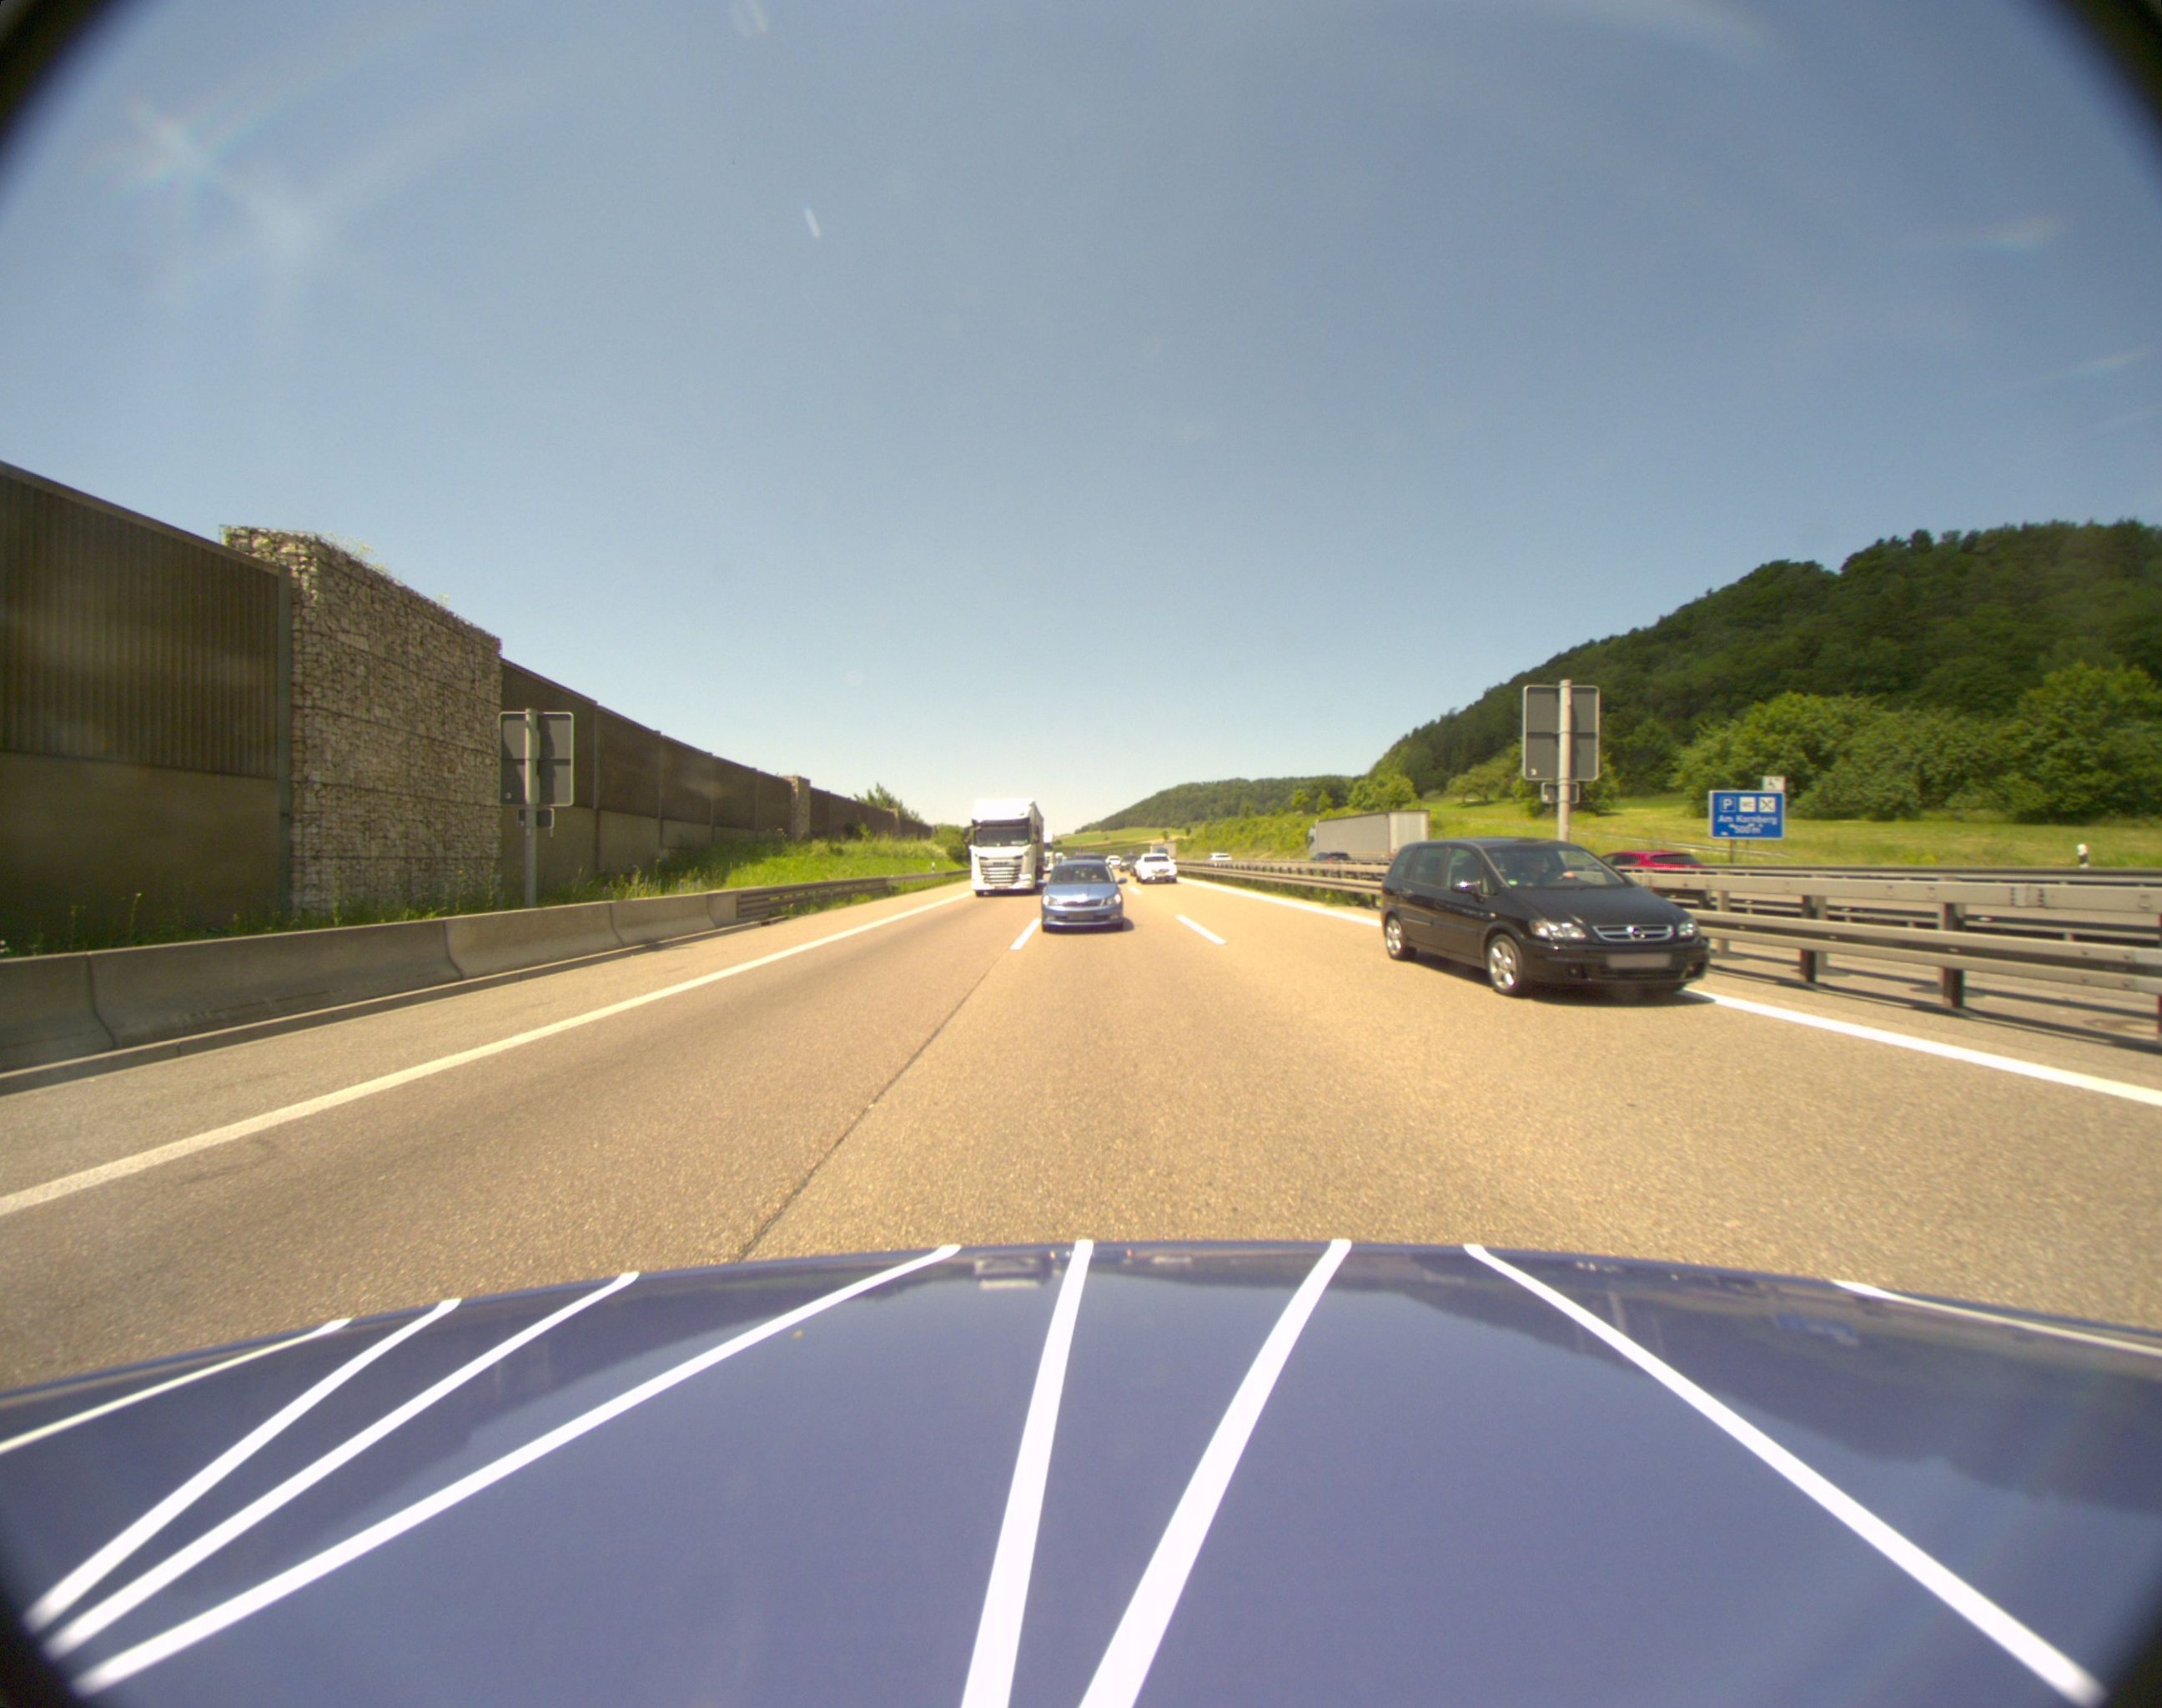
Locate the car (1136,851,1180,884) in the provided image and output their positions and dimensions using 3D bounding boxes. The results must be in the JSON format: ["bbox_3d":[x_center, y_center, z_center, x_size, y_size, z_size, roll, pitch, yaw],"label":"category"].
[{"bbox_3d":[4.083,0.696,40.812,1.998,1.612,4.000,-1,0,1],"label":"car"}]

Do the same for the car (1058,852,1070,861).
[{"bbox_3d":[-3.214,0.477,142.793,1.999,1.702,3.999,-2,1,-2],"label":"car"}]

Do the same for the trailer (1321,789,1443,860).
[{"bbox_3d":[20.244,-1.848,52.469,3.255,4.180,12.998,-2,1,0],"label":"trailer"}]

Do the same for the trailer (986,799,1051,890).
[{"bbox_3d":[-3.009,-0.419,40.215,2.484,3.954,13.653,-1,0,-1],"label":"trailer"}]

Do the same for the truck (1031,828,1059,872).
[{"bbox_3d":[-3.660,-0.402,75.507,2.532,4.065,6.077,-2,1,-4],"label":"truck"}]

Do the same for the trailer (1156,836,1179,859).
[{"bbox_3d":[16.932,-1.335,149.603,2.862,4.167,13.613,-2,1,0],"label":"trailer"}]

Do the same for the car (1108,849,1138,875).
[{"bbox_3d":[3.038,0.551,55.491,1.998,1.692,4.000,-2,1,1],"label":"car"}]

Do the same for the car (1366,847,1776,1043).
[{"bbox_3d":[4.976,0.765,8.644,1.805,1.625,4.446,-1,0,0],"label":"car"}]

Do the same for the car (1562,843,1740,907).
[{"bbox_3d":[16.145,0.535,21.845,1.874,1.608,4.355,-1,0,1],"label":"car"}]

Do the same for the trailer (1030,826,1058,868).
[{"bbox_3d":[-4.067,-0.768,81.320,2.545,4.084,13.622,-2,1,-4],"label":"trailer"}]

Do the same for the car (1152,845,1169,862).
[{"bbox_3d":[13.445,-0.107,128.477,2.161,2.846,6.398,-2,1,0],"label":"car"}]

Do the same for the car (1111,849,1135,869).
[{"bbox_3d":[3.781,0.412,69.554,1.998,1.702,4.000,-2,1,1],"label":"car"}]

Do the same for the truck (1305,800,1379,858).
[{"bbox_3d":[20.181,-1.876,59.226,3.286,4.124,6.954,-2,1,0],"label":"truck"}]

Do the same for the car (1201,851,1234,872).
[{"bbox_3d":[11.766,0.650,65.638,1.998,1.683,4.509,-2,0,1],"label":"car"}]

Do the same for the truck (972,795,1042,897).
[{"bbox_3d":[-3.073,-0.316,33.153,2.484,3.954,6.380,-1,0,-1],"label":"truck"}]

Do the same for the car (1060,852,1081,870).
[{"bbox_3d":[-1.128,0.686,79.364,1.999,1.702,3.999,-2,1,-2],"label":"car"}]

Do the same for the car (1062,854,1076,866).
[{"bbox_3d":[-1.927,0.903,116.461,1.999,1.702,3.999,-2,1,-2],"label":"car"}]

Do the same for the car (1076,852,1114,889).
[{"bbox_3d":[0.669,0.757,37.444,1.737,1.674,4.197,-1,0,0],"label":"car"}]

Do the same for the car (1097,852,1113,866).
[{"bbox_3d":[3.131,0.657,100.773,1.998,1.702,4.000,-2,1,1],"label":"car"}]

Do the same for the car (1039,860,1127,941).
[{"bbox_3d":[-0.035,0.906,16.907,1.660,1.481,4.652,-1,0,-2],"label":"car"}]

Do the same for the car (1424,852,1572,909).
[{"bbox_3d":[11.995,0.699,22.252,1.754,1.459,4.628,-1,0,0],"label":"car"}]

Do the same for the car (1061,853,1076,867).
[{"bbox_3d":[-1.705,0.772,102.626,1.999,1.702,3.999,-2,1,-2],"label":"car"}]

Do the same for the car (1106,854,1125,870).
[{"bbox_3d":[4.011,0.904,88.994,1.998,1.702,4.000,-2,1,1],"label":"car"}]
